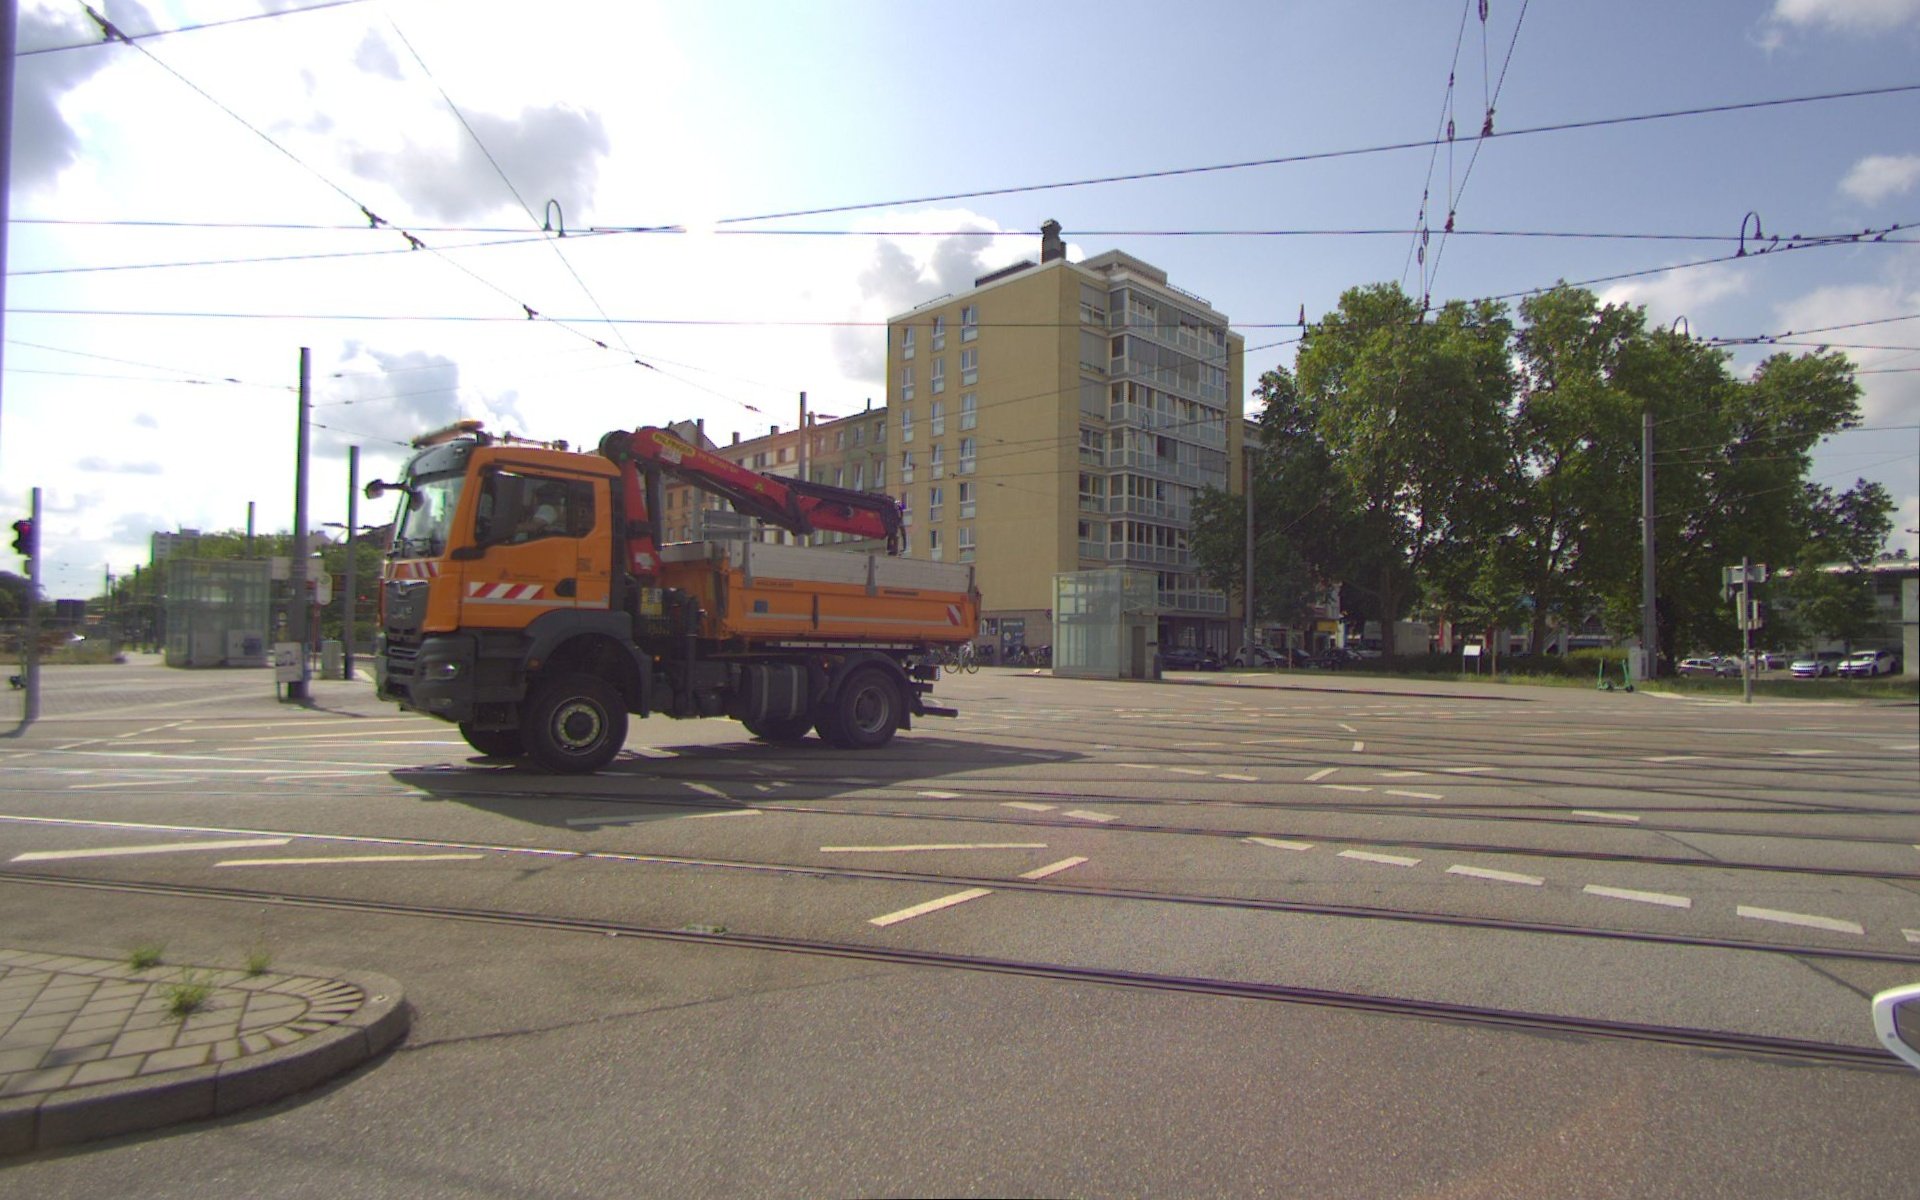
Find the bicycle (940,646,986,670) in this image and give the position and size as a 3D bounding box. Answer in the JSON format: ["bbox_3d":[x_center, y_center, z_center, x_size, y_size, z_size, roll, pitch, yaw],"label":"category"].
[{"bbox_3d":[0.150,2.679,46.383,2.066,1.120,0.542,1,-2,-17],"label":"bicycle"}]

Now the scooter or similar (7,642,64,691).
[{"bbox_3d":[-22.880,1.631,24.854,1.150,1.182,0.810,-1,-3,37],"label":"scooter or similar"}]

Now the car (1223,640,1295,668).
[{"bbox_3d":[19.048,3.427,64.154,1.797,1.534,4.041,3,-1,-44],"label":"car"}]

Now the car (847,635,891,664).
[{"bbox_3d":[-4.905,2.702,54.481,1.743,1.472,3.500,0,-4,6],"label":"car"}]

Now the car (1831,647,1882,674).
[{"bbox_3d":[60.267,4.043,67.538,3.962,1.704,1.773,2,-3,-36],"label":"car"}]

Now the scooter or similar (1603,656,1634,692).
[{"bbox_3d":[23.241,2.595,35.464,0.374,1.212,1.065,2,-1,0],"label":"scooter or similar"}]

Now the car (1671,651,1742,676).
[{"bbox_3d":[52.345,4.429,70.471,1.651,1.508,3.657,2,0,-26],"label":"car"}]

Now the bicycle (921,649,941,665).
[{"bbox_3d":[-1.843,3.562,63.274,1.444,0.934,0.291,0,-2,44],"label":"bicycle"}]

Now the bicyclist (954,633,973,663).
[{"bbox_3d":[0.176,2.203,46.402,0.771,1.353,0.394,2,-1,-15],"label":"bicyclist"}]

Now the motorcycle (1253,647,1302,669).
[{"bbox_3d":[16.320,2.989,51.619,2.248,1.043,0.976,1,-4,5],"label":"motorcycle"}]

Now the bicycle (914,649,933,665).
[{"bbox_3d":[-2.305,3.563,63.102,1.444,0.934,0.291,-1,-3,44],"label":"bicycle"}]

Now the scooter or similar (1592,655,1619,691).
[{"bbox_3d":[22.750,2.575,35.407,0.374,1.212,1.065,2,-1,10],"label":"scooter or similar"}]

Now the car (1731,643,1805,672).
[{"bbox_3d":[62.140,4.409,77.358,1.971,2.040,3.979,3,-1,-22],"label":"car"}]

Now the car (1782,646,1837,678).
[{"bbox_3d":[58.882,4.316,69.596,3.962,2.040,1.980,3,0,-36],"label":"car"}]

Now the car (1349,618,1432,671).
[{"bbox_3d":[26.275,2.755,61.169,7.199,3.082,1.975,3,-3,-43],"label":"car"}]

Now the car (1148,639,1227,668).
[{"bbox_3d":[12.758,3.011,56.496,1.797,1.534,4.042,3,-3,-44],"label":"car"}]

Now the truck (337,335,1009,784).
[{"bbox_3d":[-3.034,-0.194,12.973,2.798,4.061,8.026,-1,-3,43],"label":"truck"}]

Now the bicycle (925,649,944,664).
[{"bbox_3d":[-1.621,3.575,63.501,1.444,0.934,0.291,-1,-3,44],"label":"bicycle"}]
